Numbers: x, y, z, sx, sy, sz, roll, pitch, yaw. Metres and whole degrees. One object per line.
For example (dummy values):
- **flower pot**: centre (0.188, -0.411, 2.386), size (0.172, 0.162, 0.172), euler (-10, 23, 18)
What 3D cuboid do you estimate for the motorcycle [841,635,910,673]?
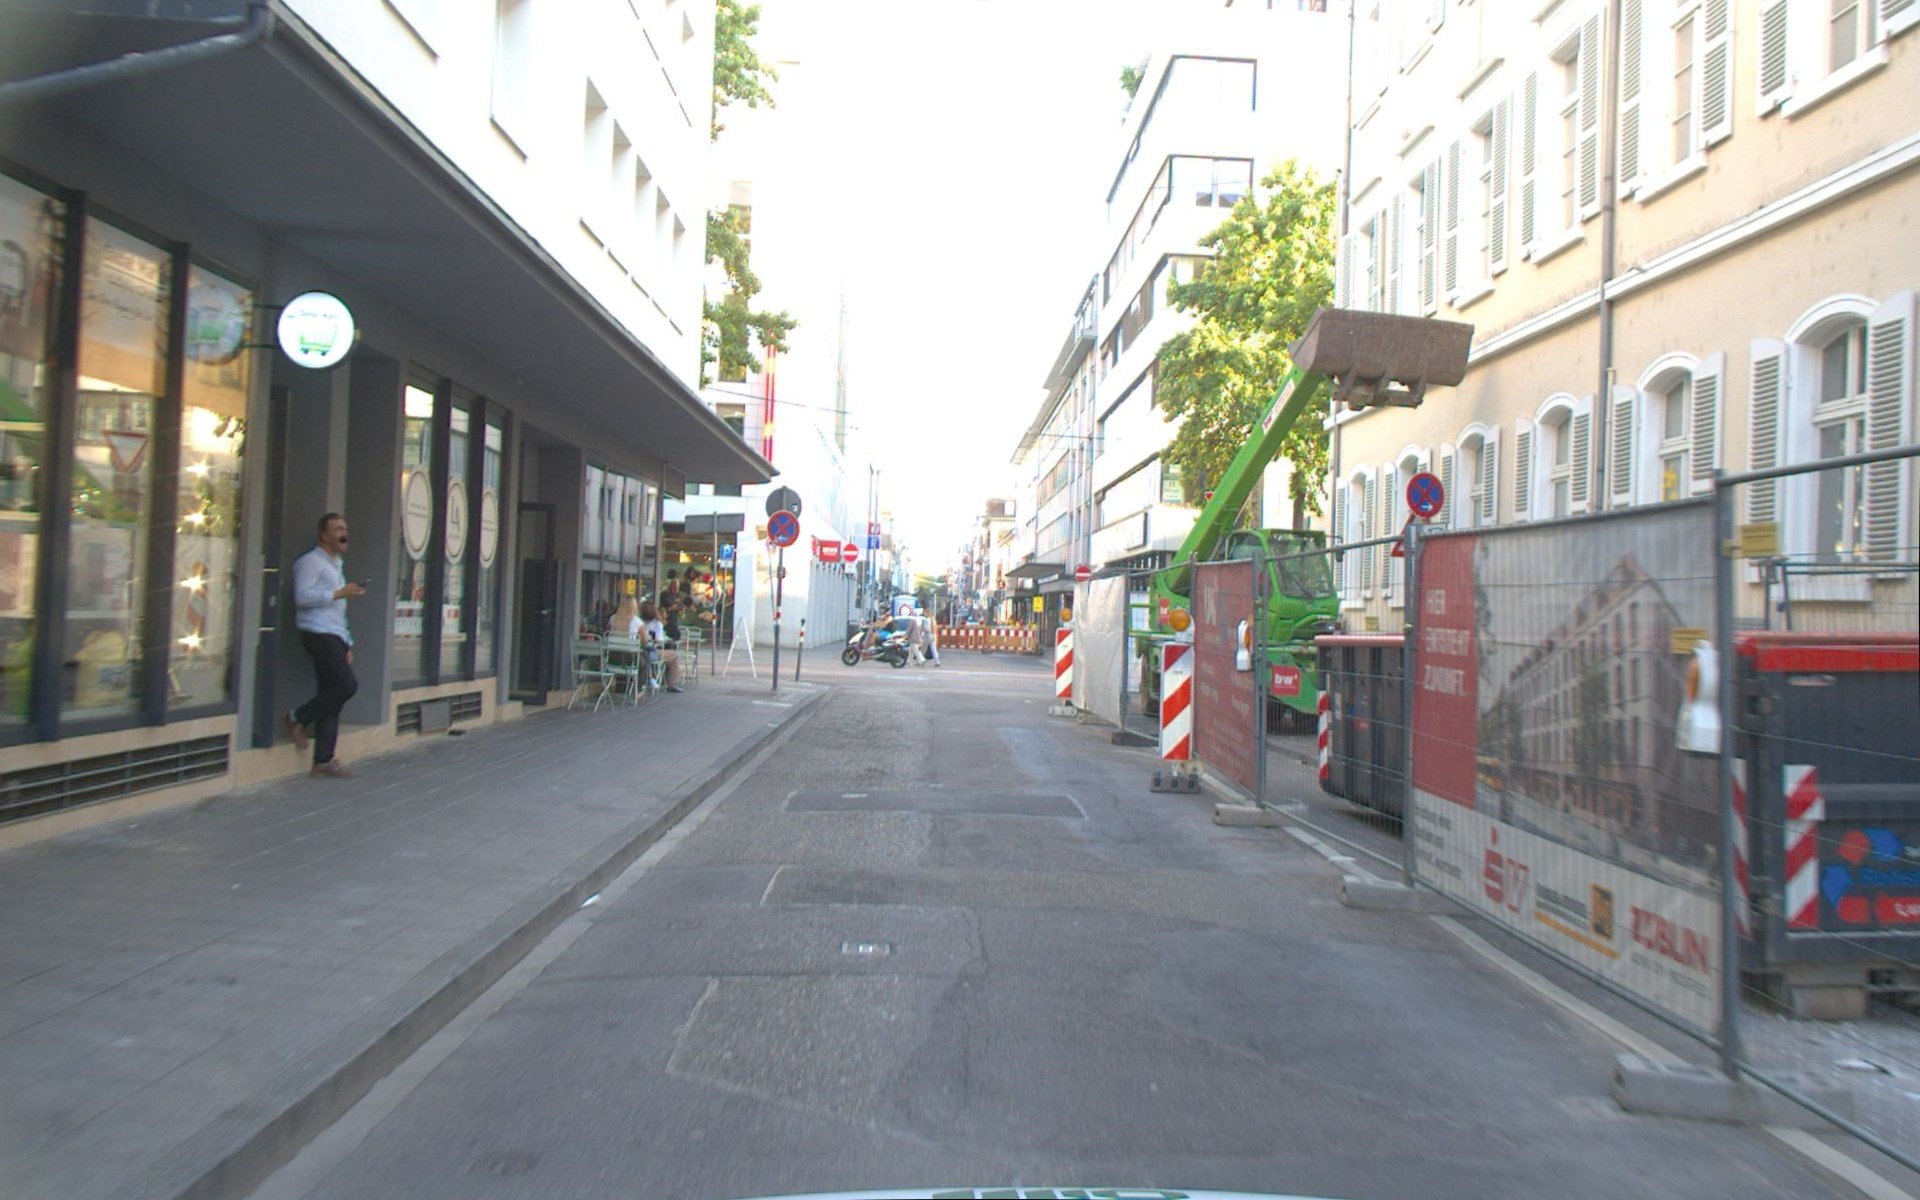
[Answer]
- **motorcycle**: centre (-2.237, 1.419, 43.775), size (1.722, 0.936, 0.640), euler (2, -1, -12)

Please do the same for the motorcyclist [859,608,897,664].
- **motorcyclist**: centre (-2.171, 0.949, 43.823), size (0.879, 1.413, 0.670), euler (2, -1, -11)

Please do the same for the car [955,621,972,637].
- **car**: centre (0.371, 3.451, 197.261), size (1.953, 1.808, 3.999), euler (1, 0, -1)

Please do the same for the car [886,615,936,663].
- **car**: centre (-1.738, 1.347, 57.953), size (1.597, 1.578, 3.139), euler (1, 0, -4)

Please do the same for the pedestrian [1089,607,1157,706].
- **pedestrian**: centre (3.118, 1.078, 31.644), size (1.056, 1.867, 0.693), euler (2, -1, -22)

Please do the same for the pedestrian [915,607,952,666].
- **pedestrian**: centre (-0.768, 1.055, 47.628), size (0.607, 1.656, 0.859), euler (2, -1, -44)

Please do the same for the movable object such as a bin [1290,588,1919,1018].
- **movable object such as a bin**: centre (4.317, 0.878, 10.359), size (2.681, 1.667, 7.549), euler (3, -1, -2)

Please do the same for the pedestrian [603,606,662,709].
- **pedestrian**: centre (-4.328, 0.750, 21.881), size (0.561, 1.297, 0.713), euler (4, -1, -1)

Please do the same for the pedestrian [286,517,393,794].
- **pedestrian**: centre (-4.308, 0.378, 11.505), size (0.520, 1.866, 0.562), euler (2, 0, -7)

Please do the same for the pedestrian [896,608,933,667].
- **pedestrian**: centre (-1.306, 1.071, 47.270), size (0.607, 1.656, 0.859), euler (2, -1, -44)

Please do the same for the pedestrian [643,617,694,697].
- **pedestrian**: centre (-4.356, 0.844, 24.748), size (0.561, 1.133, 0.713), euler (4, -1, -1)

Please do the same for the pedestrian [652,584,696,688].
- **pedestrian**: centre (-4.802, 0.596, 27.766), size (0.494, 1.697, 0.687), euler (4, -1, 1)

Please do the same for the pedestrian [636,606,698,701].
- **pedestrian**: centre (-4.209, 0.764, 23.821), size (0.688, 1.297, 0.713), euler (4, -1, -1)

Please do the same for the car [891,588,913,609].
- **car**: centre (-5.355, -0.132, 152.940), size (1.953, 1.808, 3.999), euler (1, 0, -1)

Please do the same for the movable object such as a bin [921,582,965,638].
- **movable object such as a bin**: centre (-0.888, 0.515, 83.443), size (2.113, 2.710, 4.571), euler (2, -1, -1)

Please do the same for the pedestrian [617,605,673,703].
- **pedestrian**: centre (-4.339, 0.736, 22.812), size (0.561, 1.297, 0.713), euler (4, -1, -1)

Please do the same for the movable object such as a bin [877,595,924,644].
- **movable object such as a bin**: centre (-2.611, 0.855, 73.208), size (1.953, 2.049, 3.999), euler (1, 0, -1)

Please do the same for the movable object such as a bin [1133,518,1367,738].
- **movable object such as a bin**: centre (4.107, 0.391, 24.312), size (2.552, 2.889, 4.449), euler (1, -1, -1)
